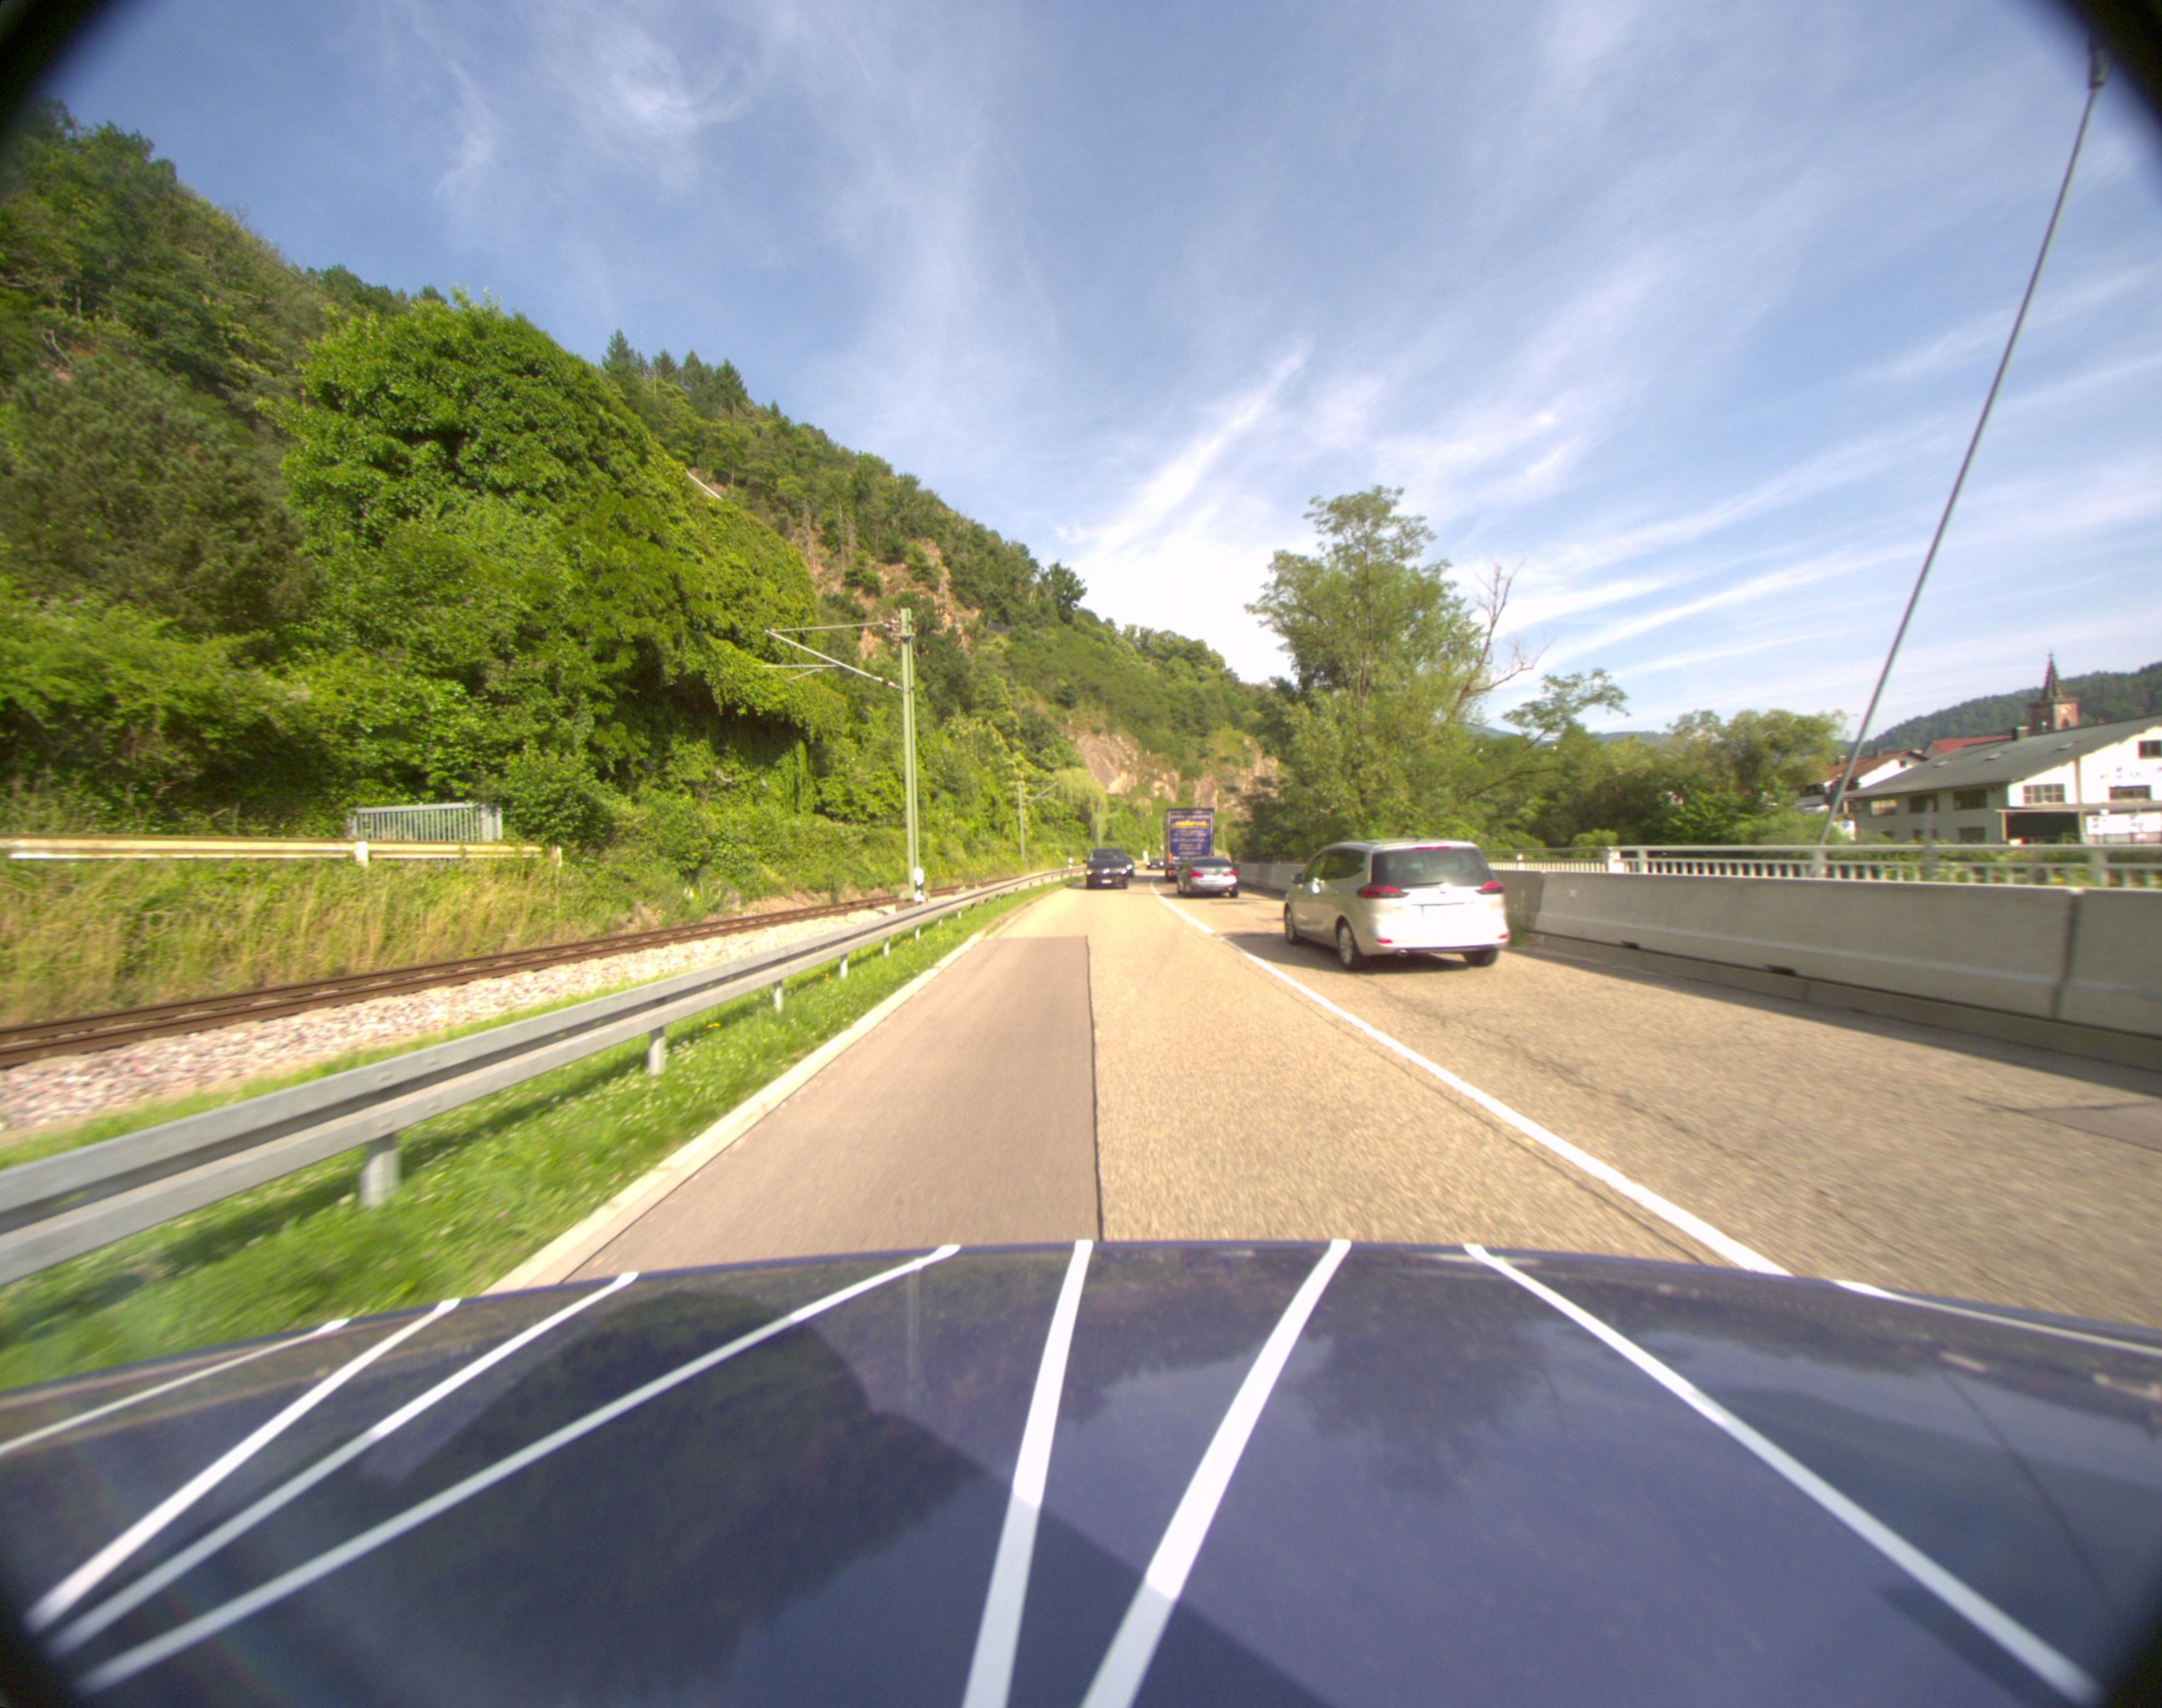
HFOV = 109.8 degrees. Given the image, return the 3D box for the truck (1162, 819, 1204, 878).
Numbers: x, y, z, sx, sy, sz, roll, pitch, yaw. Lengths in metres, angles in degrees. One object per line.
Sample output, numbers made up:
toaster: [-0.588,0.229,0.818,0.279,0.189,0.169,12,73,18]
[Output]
truck: [7.220,-0.383,54.494,2.747,4.005,6.414,0,0,5]

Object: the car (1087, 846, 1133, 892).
car: [1.377,0.727,35.624,1.998,2.001,4.002,-1,-1,3]

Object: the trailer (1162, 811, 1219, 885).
trailer: [6.612,-0.348,47.609,2.863,3.989,13.675,0,0,5]

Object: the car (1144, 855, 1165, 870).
car: [7.795,0.912,80.013,1.997,1.486,4.223,0,0,9]

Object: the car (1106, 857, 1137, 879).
car: [2.949,0.976,54.626,1.997,1.486,4.222,0,0,6]

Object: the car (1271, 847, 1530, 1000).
car: [4.105,0.766,10.706,1.777,1.660,4.647,-1,0,1]

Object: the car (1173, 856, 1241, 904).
car: [4.473,0.860,27.662,1.841,1.487,4.936,-2,1,3]
